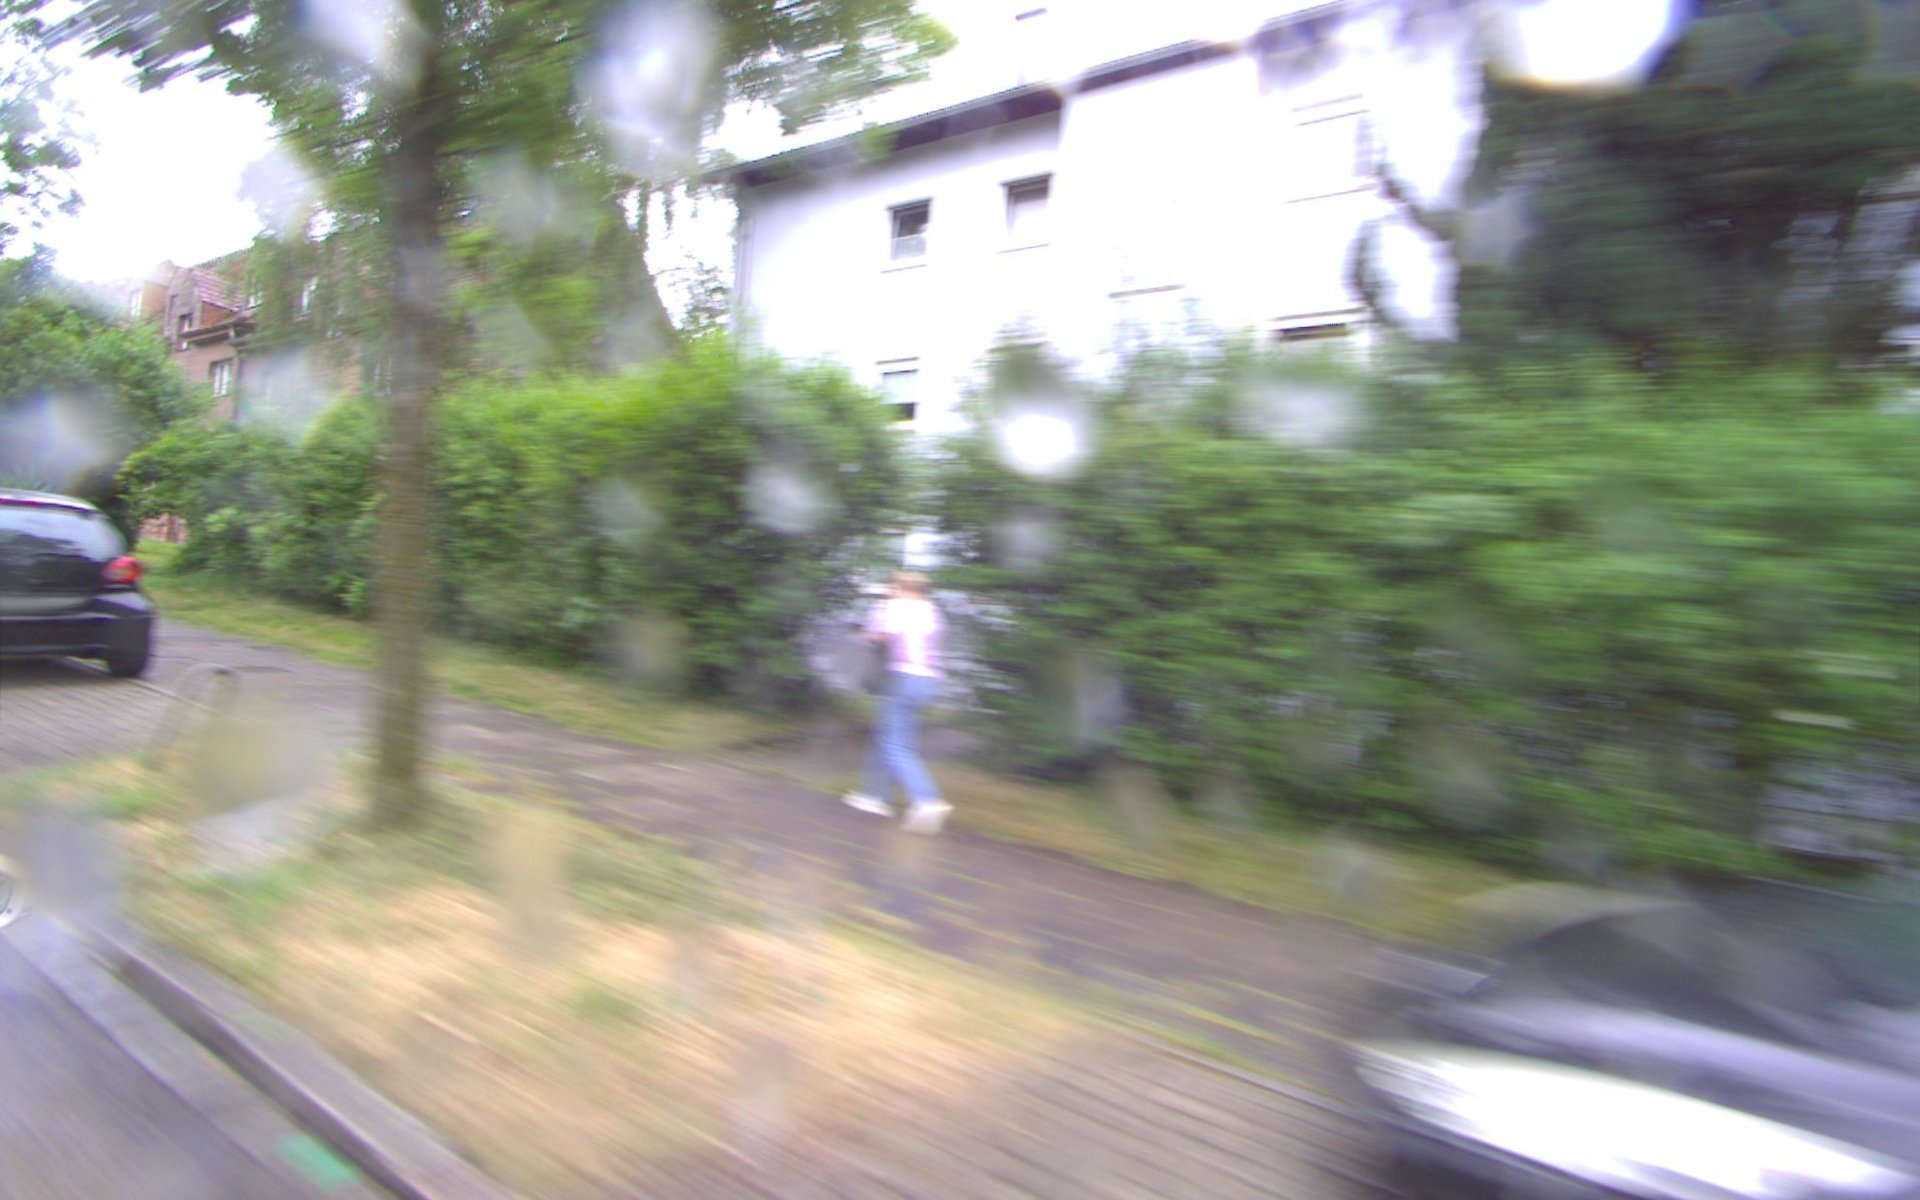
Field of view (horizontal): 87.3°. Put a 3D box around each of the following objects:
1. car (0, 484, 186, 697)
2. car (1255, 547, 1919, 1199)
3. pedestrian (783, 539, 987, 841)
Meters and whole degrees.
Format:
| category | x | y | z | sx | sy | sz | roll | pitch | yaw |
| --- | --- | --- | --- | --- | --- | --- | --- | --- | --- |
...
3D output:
| category | x | y | z | sx | sy | sz | roll | pitch | yaw |
| --- | --- | --- | --- | --- | --- | --- | --- | --- | --- |
| car | -8.380 | -0.233 | 8.407 | 3.722 | 1.532 | 1.723 | 7 | 1 | 31 |
| car | 2.639 | 0.948 | 1.431 | 3.946 | 1.616 | 1.643 | 7 | 1 | 31 |
| pedestrian | -0.468 | 0.524 | 6.335 | 0.880 | 1.701 | 0.717 | 6 | 2 | 32 |
